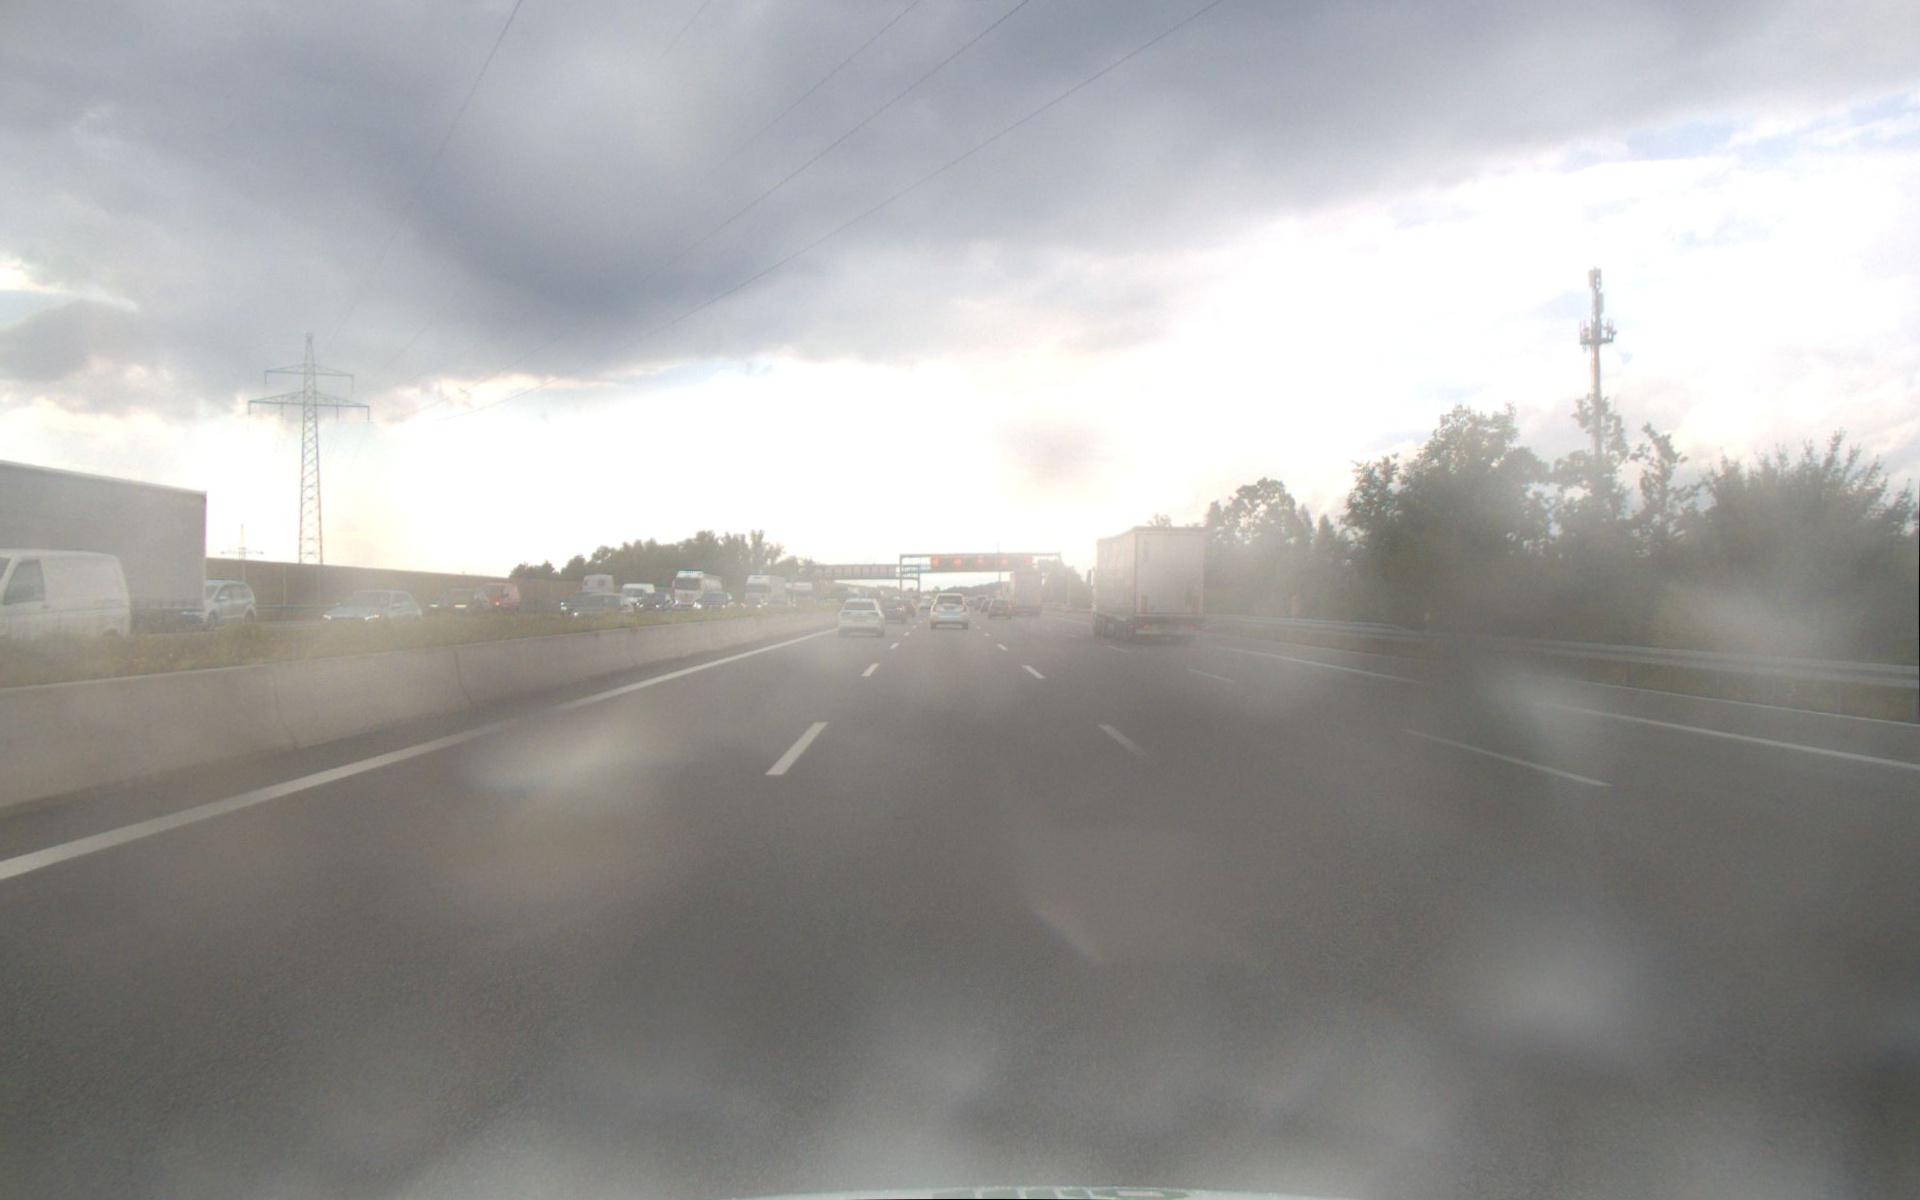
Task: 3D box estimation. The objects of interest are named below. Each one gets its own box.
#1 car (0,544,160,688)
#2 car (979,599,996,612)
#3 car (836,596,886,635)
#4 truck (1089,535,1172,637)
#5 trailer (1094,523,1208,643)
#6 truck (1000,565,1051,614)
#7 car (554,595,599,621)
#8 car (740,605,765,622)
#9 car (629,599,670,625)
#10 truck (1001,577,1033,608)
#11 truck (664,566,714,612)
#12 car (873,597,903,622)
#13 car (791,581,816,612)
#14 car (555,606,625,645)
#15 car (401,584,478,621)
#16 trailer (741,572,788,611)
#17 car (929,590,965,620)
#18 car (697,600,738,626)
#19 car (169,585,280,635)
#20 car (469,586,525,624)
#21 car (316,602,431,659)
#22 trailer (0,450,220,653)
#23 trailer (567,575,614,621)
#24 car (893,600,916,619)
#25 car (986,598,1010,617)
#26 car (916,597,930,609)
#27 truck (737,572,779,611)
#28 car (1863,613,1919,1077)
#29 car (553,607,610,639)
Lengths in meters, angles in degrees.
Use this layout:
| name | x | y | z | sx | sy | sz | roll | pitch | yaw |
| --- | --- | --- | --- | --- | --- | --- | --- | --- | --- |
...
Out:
| name | x | y | z | sx | sy | sz | roll | pitch | yaw |
| --- | --- | --- | --- | --- | --- | --- | --- | --- | --- |
| car | -13.891 | 0.196 | 24.249 | 1.884 | 1.933 | 5.159 | 1 | 0 | -2 |
| car | 3.070 | 0.580 | 185.597 | 1.798 | 1.466 | 4.055 | 1 | 0 | 0 |
| car | -3.820 | 0.587 | 64.337 | 1.736 | 1.466 | 3.873 | 1 | 0 | -1 |
| truck | 7.181 | -0.563 | 70.405 | 2.900 | 4.090 | 6.589 | 1 | 0 | 1 |
| trailer | 7.121 | -0.585 | 63.786 | 2.900 | 4.090 | 14.119 | 1 | 0 | 1 |
| truck | 6.149 | -0.973 | 157.402 | 4.095 | 4.363 | 12.611 | 1 | 0 | -1 |
| car | -25.483 | 0.524 | 110.010 | 1.925 | 1.623 | 4.819 | 1 | 0 | -2 |
| car | -18.631 | 1.201 | 148.854 | 1.751 | 1.479 | 4.563 | 1 | 0 | -2 |
| car | -18.618 | 0.716 | 99.440 | 1.729 | 1.480 | 4.232 | 1 | 0 | -2 |
| truck | 8.075 | -1.059 | 235.968 | 4.157 | 4.249 | 11.989 | 1 | 0 | 0 |
| truck | -26.844 | -1.048 | 164.033 | 3.586 | 4.394 | 8.236 | 1 | 0 | -1 |
| car | -4.341 | 0.574 | 100.365 | 1.736 | 1.466 | 4.054 | 1 | 0 | -1 |
| car | -21.903 | -0.493 | 231.439 | 2.922 | 4.222 | 6.041 | 1 | 0 | -1 |
| car | -14.803 | 0.986 | 66.391 | 1.729 | 1.479 | 5.084 | 1 | 0 | -2 |
| car | -21.712 | 0.109 | 69.126 | 1.729 | 1.479 | 4.941 | 1 | 0 | -2 |
| trailer | -22.001 | -0.867 | 186.741 | 3.585 | 4.180 | 13.398 | 1 | 0 | 0 |
| car | -0.692 | 0.243 | 83.463 | 1.736 | 1.466 | 4.054 | 1 | 0 | -1 |
| car | -14.435 | 0.761 | 98.685 | 1.790 | 1.479 | 4.941 | 1 | 0 | -2 |
| car | -25.515 | 0.336 | 57.592 | 1.729 | 1.638 | 4.941 | 1 | 0 | -2 |
| car | -25.437 | 0.274 | 91.022 | 1.729 | 2.002 | 4.941 | 1 | 0 | -2 |
| car | -17.555 | 0.876 | 49.768 | 1.729 | 1.563 | 5.159 | 1 | 0 | -2 |
| trailer | -21.332 | -1.012 | 37.604 | 3.252 | 4.132 | 13.283 | 1 | 0 | -2 |
| trailer | -25.633 | -0.129 | 114.889 | 2.202 | 3.014 | 4.899 | 1 | 0 | -2 |
| car | -4.468 | 0.783 | 133.355 | 1.737 | 1.466 | 4.054 | 1 | 0 | -2 |
| car | 2.962 | 0.598 | 129.851 | 1.798 | 1.466 | 4.055 | 1 | 0 | 0 |
| car | -4.624 | 0.335 | 207.048 | 1.736 | 1.466 | 4.055 | 1 | 0 | 0 |
| truck | -22.012 | -0.887 | 180.476 | 3.585 | 4.118 | 6.524 | 1 | 0 | 0 |
| car | 3.784 | 0.787 | 3.991 | 1.417 | 1.466 | 3.163 | 1 | 0 | -2 |
| car | -18.417 | 1.104 | 80.623 | 1.729 | 1.479 | 4.941 | 1 | 0 | -2 |
